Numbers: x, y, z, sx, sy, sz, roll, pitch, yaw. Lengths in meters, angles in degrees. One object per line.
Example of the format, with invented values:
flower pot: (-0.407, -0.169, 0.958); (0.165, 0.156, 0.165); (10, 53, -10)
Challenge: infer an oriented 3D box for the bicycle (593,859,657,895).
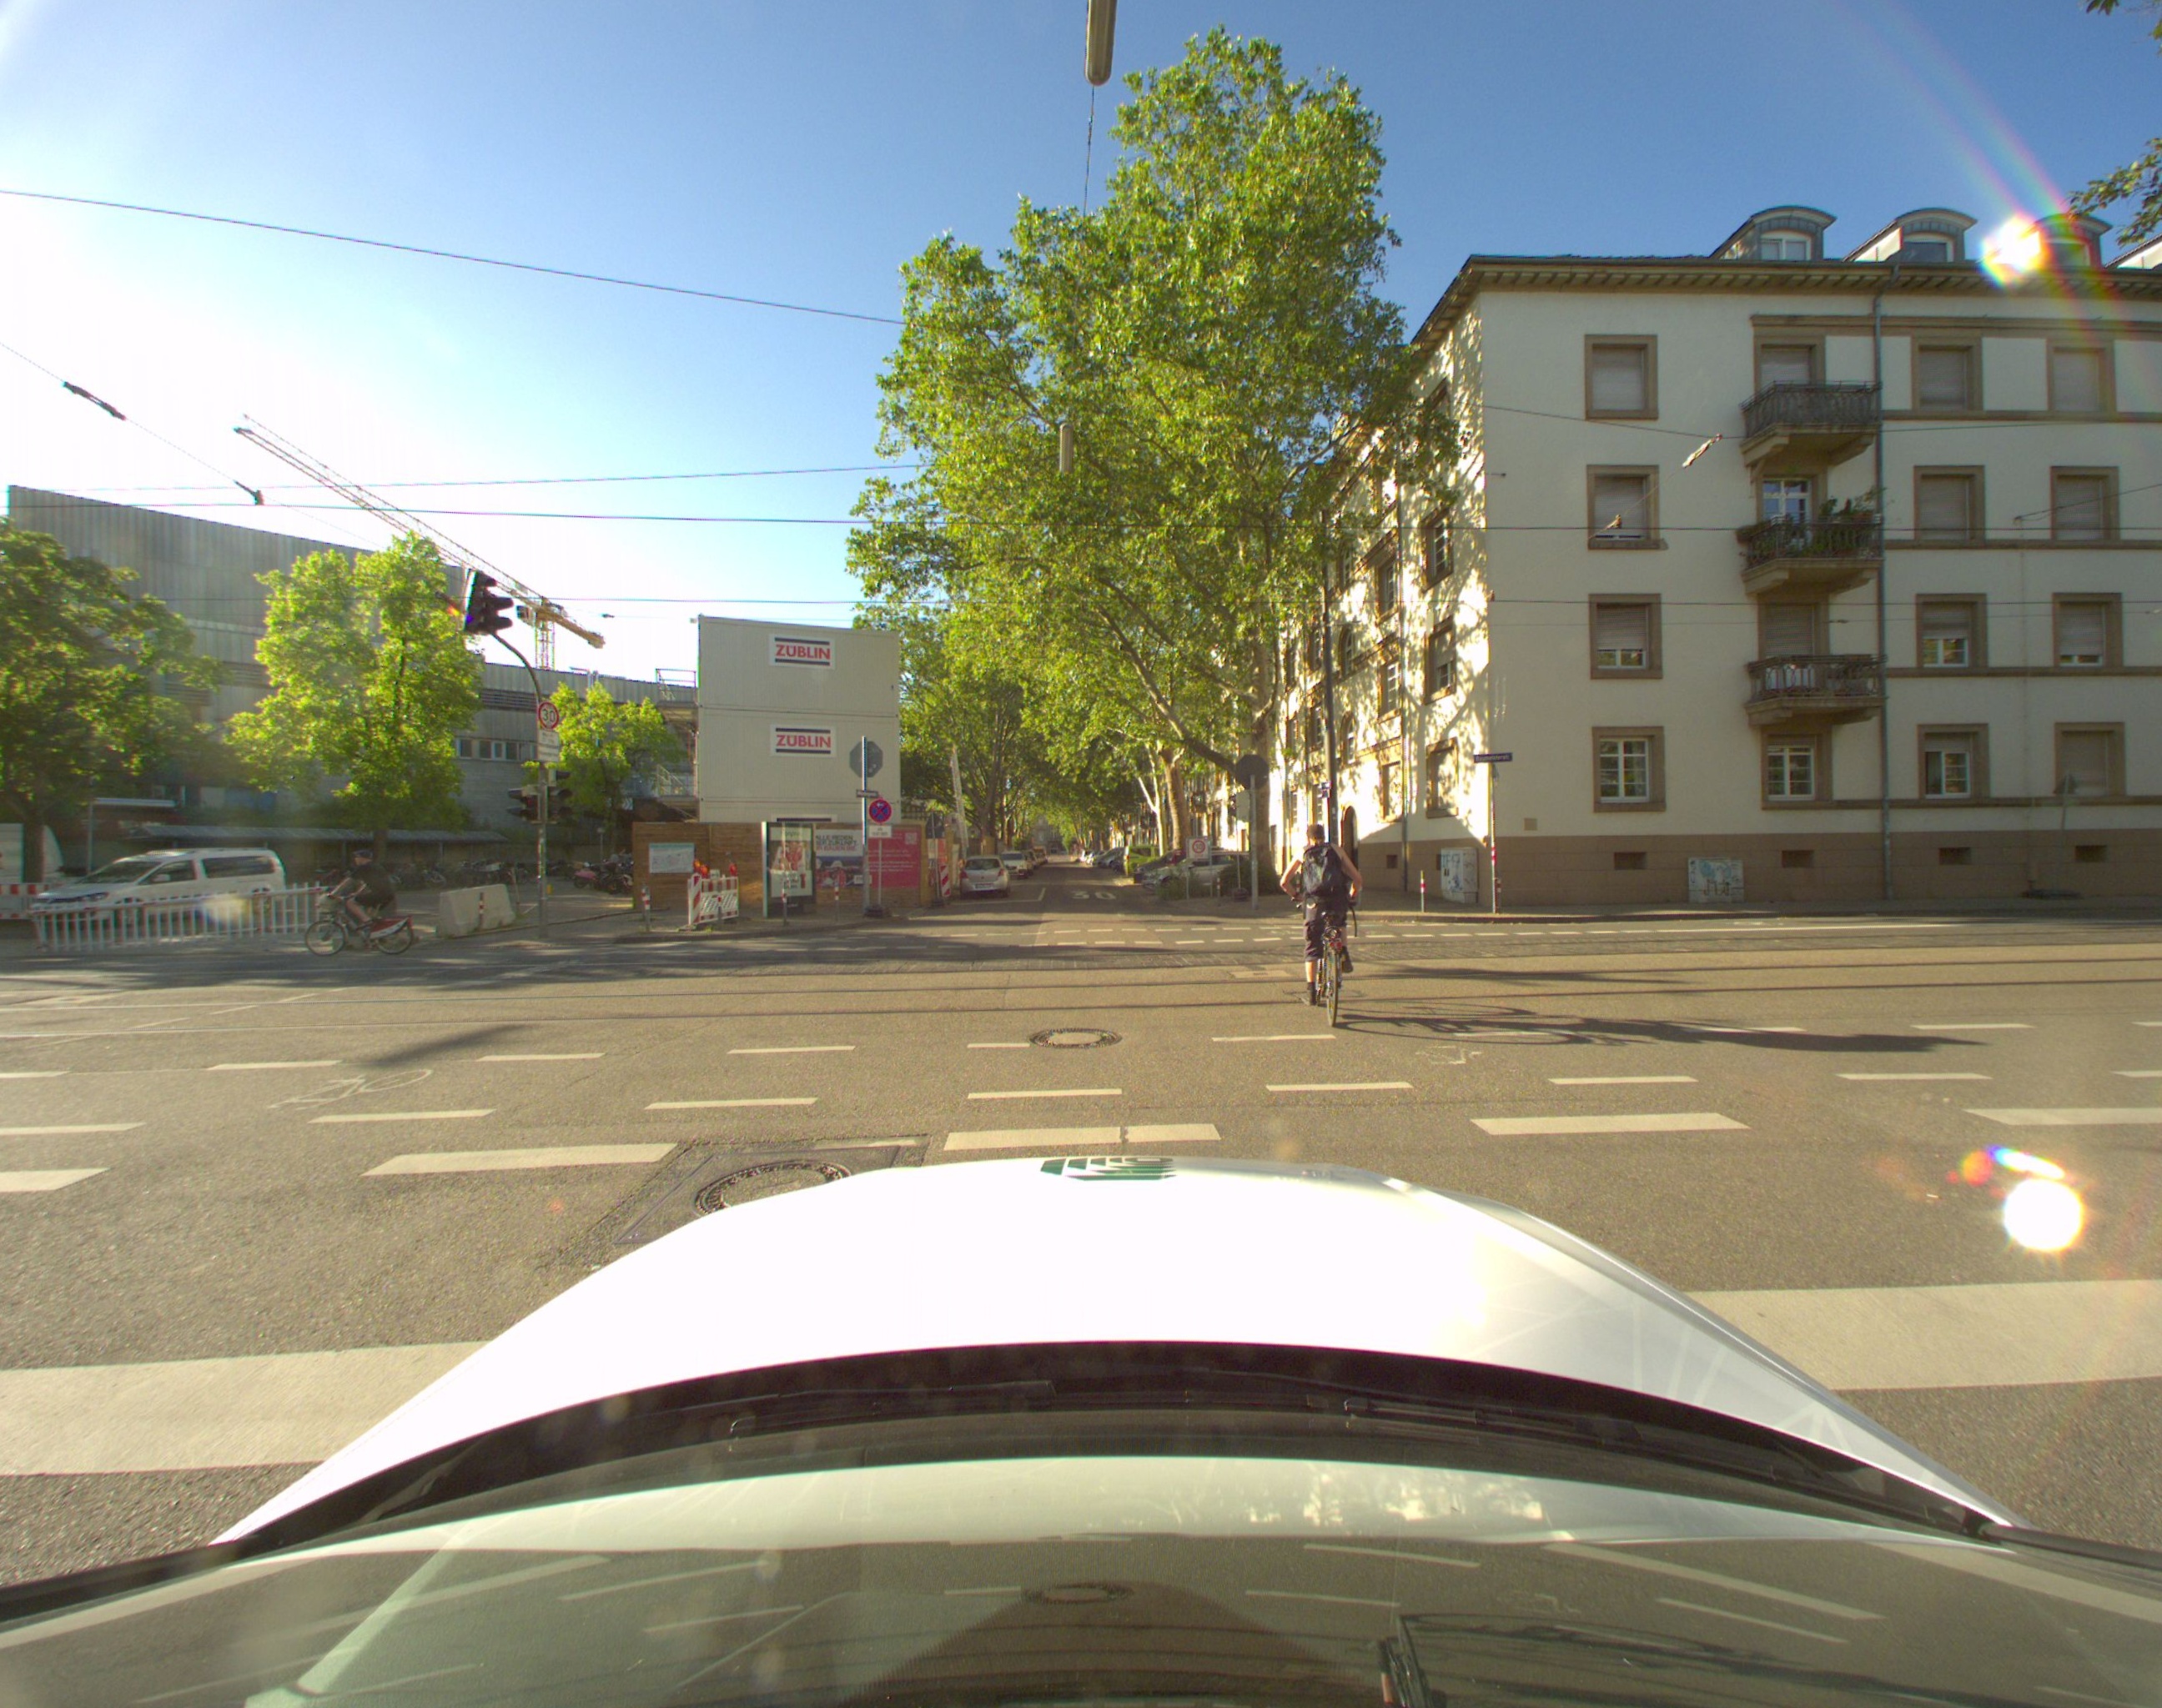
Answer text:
bicycle: (-17.384, 0.856, 31.060); (2.060, 1.257, 0.466); (-2, 1, -40)

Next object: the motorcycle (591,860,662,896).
motorcycle: (-16.806, 0.869, 30.137); (2.223, 1.257, 0.537); (-2, 1, -40)

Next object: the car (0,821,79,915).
car: (-30.362, 0.463, 21.176); (1.990, 2.530, 5.374); (-1, 3, -4)

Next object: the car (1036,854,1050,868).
car: (-4.662, 0.809, 99.300); (1.662, 1.562, 4.214); (-1, 0, -3)

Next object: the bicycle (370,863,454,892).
bicycle: (-28.111, 0.991, 34.239); (3.062, 1.147, 0.823); (-1, 1, 6)

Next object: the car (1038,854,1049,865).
car: (-6.018, 0.866, 128.956); (1.662, 1.562, 4.214); (-1, 0, -3)

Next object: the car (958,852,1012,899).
car: (-3.441, 0.732, 29.751); (1.640, 1.494, 3.995); (-3, 0, -3)

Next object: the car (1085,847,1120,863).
car: (2.761, 0.138, 105.643); (4.451, 1.898, 1.726); (-1, 0, -3)

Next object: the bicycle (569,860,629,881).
bicycle: (-27.977, 0.927, 47.297); (3.062, 1.147, 0.823); (-1, 1, 6)

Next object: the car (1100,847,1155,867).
car: (3.886, 0.246, 68.262); (4.451, 1.571, 1.726); (-1, 0, -3)

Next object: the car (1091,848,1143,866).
car: (3.208, 0.260, 73.003); (4.451, 1.571, 1.726); (-1, 0, -3)

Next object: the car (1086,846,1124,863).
car: (2.915, 0.030, 98.218); (4.451, 1.898, 1.726); (-1, 0, -3)

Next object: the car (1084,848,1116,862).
car: (2.725, 0.121, 117.819); (4.451, 1.898, 1.726); (-1, 0, -3)

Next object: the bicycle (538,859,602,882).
bicycle: (-27.804, 0.904, 44.353); (3.062, 1.147, 0.823); (-1, 1, 6)

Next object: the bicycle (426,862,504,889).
bicycle: (-27.861, 0.946, 36.835); (3.062, 1.147, 0.823); (-1, 1, 6)

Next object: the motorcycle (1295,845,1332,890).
motorcycle: (7.182, 0.388, 25.228); (0.513, 1.332, 1.761); (-1, 0, -4)

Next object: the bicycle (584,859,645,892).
bicycle: (-18.964, 0.853, 33.137); (2.060, 1.257, 0.537); (-2, 1, -40)

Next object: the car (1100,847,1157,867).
car: (3.824, 0.238, 65.784); (4.451, 1.571, 1.726); (-1, 0, -3)

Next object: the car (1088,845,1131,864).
car: (3.059, 0.027, 88.276); (4.451, 1.898, 1.726); (-1, 0, -3)

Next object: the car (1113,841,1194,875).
car: (4.168, 0.210, 47.236); (4.452, 1.836, 1.726); (-1, 0, -4)

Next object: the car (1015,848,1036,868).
car: (-4.633, 0.300, 68.209); (1.662, 1.562, 4.610); (-1, 0, -3)

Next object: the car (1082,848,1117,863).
car: (2.435, 0.179, 108.677); (4.451, 1.898, 1.726); (-1, 0, -3)

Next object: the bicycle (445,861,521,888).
bicycle: (-27.707, 0.953, 37.721); (3.062, 1.147, 0.823); (-1, 1, 6)

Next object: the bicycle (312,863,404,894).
bicycle: (-28.425, 0.974, 32.028); (3.062, 1.147, 0.823); (-1, 1, 6)

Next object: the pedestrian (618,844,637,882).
pedestrian: (-24.542, 0.499, 44.074); (0.804, 2.013, 1.022); (-1, 1, -26)

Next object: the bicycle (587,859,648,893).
bicycle: (-18.314, 0.845, 32.209); (2.060, 1.257, 0.466); (-2, 1, -40)

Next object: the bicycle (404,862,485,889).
bicycle: (-27.974, 0.938, 35.802); (3.062, 1.147, 0.823); (-1, 1, 6)

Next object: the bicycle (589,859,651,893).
bicycle: (-17.994, 0.841, 31.816); (2.060, 1.257, 0.466); (-2, 1, -40)

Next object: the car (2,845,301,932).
car: (-24.232, 0.789, 21.619); (1.995, 1.892, 4.953); (0, 2, 4)

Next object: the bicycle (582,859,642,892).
bicycle: (-19.340, 0.857, 33.599); (2.060, 1.257, 0.537); (-2, 1, -40)

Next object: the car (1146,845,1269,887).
car: (4.881, 0.448, 31.747); (4.451, 1.500, 1.726); (-1, 0, -3)

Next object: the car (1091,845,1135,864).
car: (3.332, 0.025, 85.417); (4.451, 1.898, 1.726); (-1, 0, -3)

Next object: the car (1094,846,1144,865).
car: (3.523, 0.130, 75.335); (4.451, 1.571, 1.726); (-1, 0, -3)

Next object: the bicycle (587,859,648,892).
bicycle: (-18.593, 0.849, 32.682); (2.060, 1.257, 0.537); (-2, 1, -40)

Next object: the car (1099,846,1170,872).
car: (3.474, 0.294, 53.165); (4.451, 1.571, 1.726); (-1, 0, -3)

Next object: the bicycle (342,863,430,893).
bicycle: (-28.305, 0.983, 33.175); (3.062, 1.147, 0.823); (-1, 1, 6)

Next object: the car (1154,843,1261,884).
car: (5.586, 0.400, 36.233); (4.451, 1.671, 1.726); (-1, 0, -3)

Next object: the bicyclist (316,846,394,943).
bicyclist: (-12.952, 0.698, 14.550); (0.812, 1.658, 0.678); (-1, 0, -20)

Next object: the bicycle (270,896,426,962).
bicycle: (-13.010, 1.309, 14.525); (1.922, 1.018, 0.678); (-1, 0, -20)

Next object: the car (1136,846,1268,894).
car: (4.279, 0.544, 29.266); (4.451, 1.571, 1.726); (-1, 0, -3)

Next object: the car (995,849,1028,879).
car: (-3.873, 0.525, 45.867); (1.662, 1.562, 3.995); (-1, 0, -3)

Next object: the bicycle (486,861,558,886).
bicycle: (-27.361, 0.970, 39.880); (3.062, 1.147, 0.823); (-1, 1, 6)

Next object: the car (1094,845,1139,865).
car: (3.589, 0.121, 82.659); (4.451, 1.898, 1.726); (-1, 0, -3)

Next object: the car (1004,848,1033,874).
car: (-3.922, 0.429, 51.572); (1.662, 1.562, 4.513); (-1, 0, -3)

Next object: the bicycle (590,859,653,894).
bicycle: (-17.697, 0.839, 31.416); (2.060, 1.257, 0.466); (-2, 1, -40)

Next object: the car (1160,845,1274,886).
car: (5.653, 0.470, 34.148); (4.451, 1.571, 1.726); (-1, 0, -3)

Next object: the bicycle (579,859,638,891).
bicycle: (-19.743, 0.864, 34.027); (2.060, 1.257, 0.537); (-2, 1, -40)

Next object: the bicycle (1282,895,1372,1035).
bicycle: (2.234, 0.946, 7.582); (0.685, 1.016, 1.914); (0, 0, 13)

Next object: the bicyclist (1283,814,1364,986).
bicyclist: (2.233, 0.401, 7.555); (0.671, 1.513, 0.671); (0, 0, 13)

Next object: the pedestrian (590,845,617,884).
pedestrian: (-25.274, 0.541, 43.134); (0.796, 2.013, 0.941); (-1, 0, 9)

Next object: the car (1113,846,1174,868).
car: (4.777, 0.208, 62.619); (4.451, 1.571, 1.726); (-1, 0, -3)

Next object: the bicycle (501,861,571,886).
bicycle: (-27.298, 0.977, 40.816); (3.062, 1.147, 0.823); (-1, 1, 6)

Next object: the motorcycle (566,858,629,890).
motorcycle: (-20.647, 0.849, 34.793); (2.223, 1.257, 0.537); (-2, 1, -40)

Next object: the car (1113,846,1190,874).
car: (4.208, 0.359, 49.254); (4.451, 1.571, 1.726); (-1, 0, -3)

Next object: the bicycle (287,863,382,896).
bicycle: (-28.424, 0.966, 31.031); (3.062, 1.147, 0.823); (-1, 1, 6)
